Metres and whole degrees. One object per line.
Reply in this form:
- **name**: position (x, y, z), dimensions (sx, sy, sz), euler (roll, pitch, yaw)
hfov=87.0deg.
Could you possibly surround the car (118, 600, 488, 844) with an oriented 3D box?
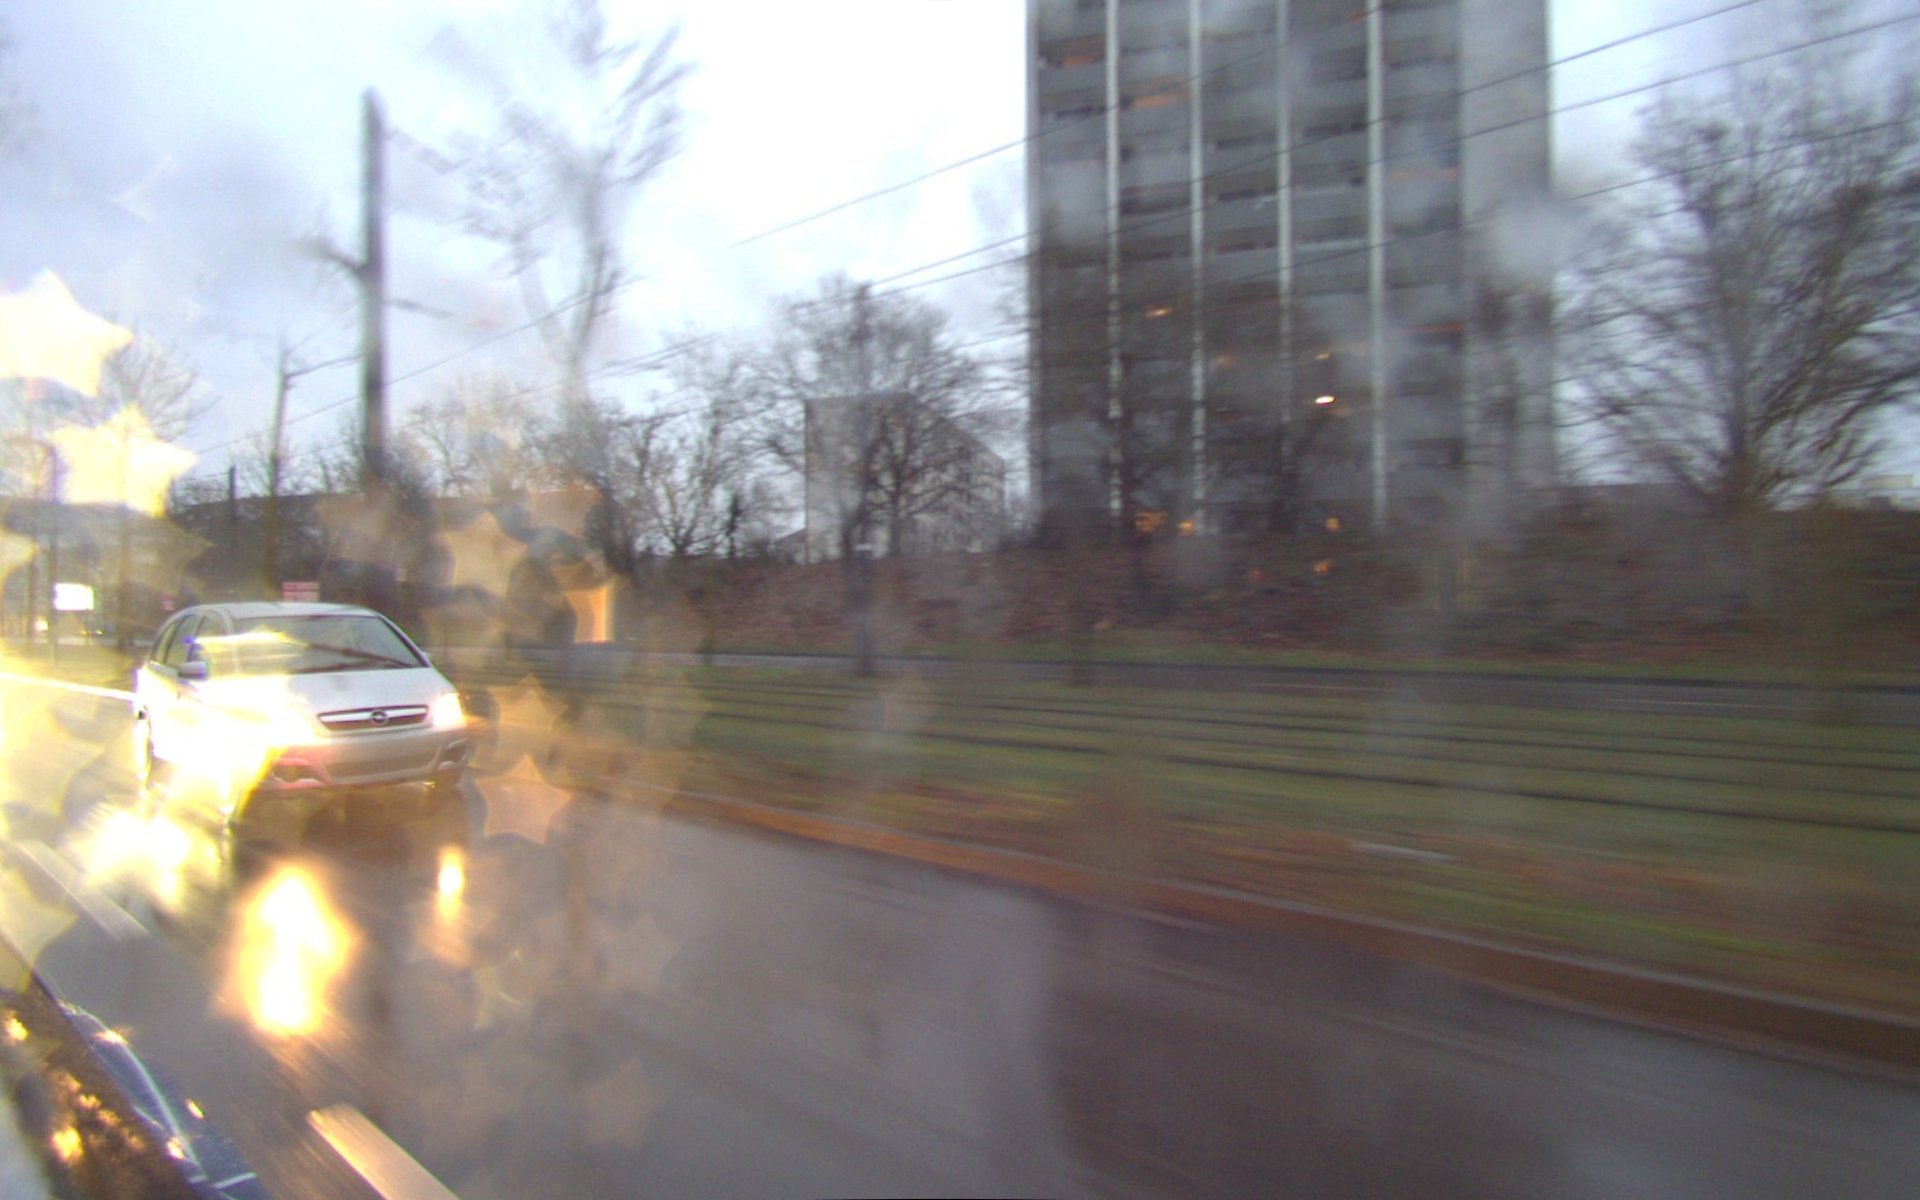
- **car**: position (-5.716, 0.846, 8.610), dimensions (3.921, 1.587, 1.648), euler (-2, 0, 42)
